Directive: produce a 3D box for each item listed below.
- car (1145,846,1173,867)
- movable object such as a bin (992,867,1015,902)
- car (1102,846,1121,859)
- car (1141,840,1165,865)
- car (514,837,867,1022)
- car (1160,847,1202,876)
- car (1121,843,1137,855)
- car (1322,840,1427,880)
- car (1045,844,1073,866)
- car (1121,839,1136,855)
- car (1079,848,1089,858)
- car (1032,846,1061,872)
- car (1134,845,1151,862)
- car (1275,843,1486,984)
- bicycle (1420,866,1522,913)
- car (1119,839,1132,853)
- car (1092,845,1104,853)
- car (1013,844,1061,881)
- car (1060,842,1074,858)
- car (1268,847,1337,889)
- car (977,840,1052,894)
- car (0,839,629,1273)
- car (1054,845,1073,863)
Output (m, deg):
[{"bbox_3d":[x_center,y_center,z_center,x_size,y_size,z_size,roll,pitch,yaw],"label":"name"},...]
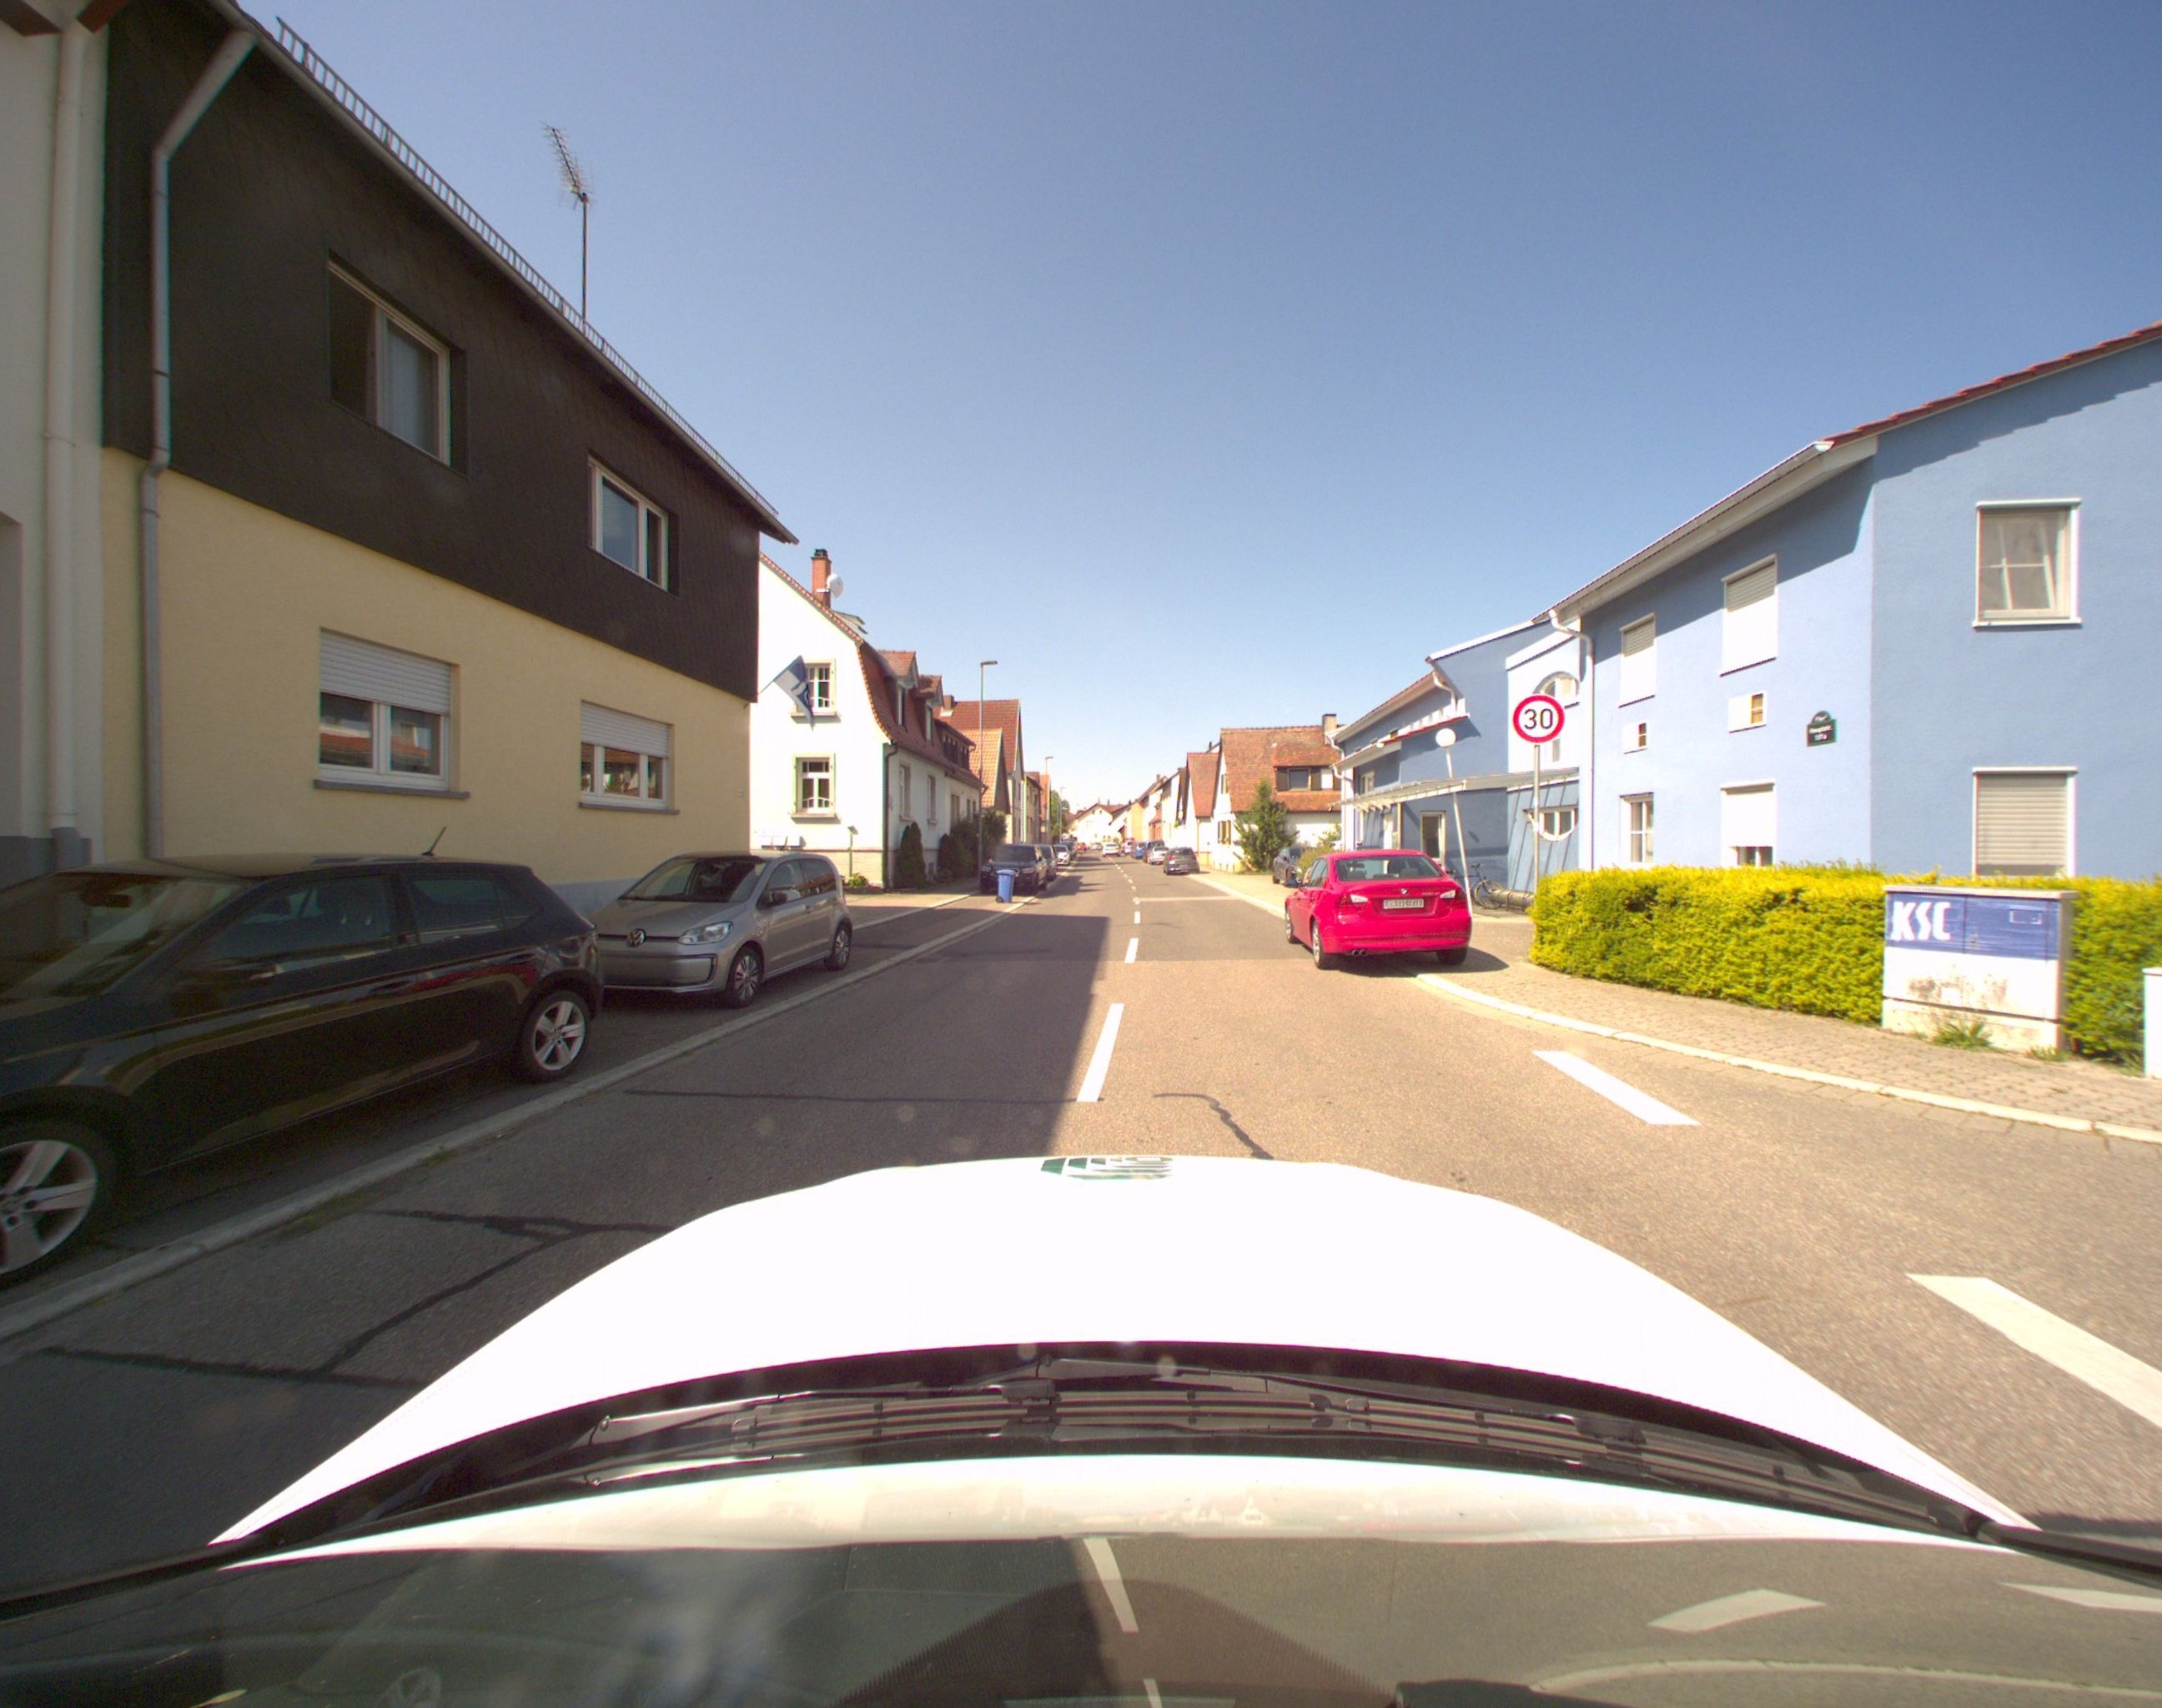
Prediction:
[{"bbox_3d":[5.679,0.161,59.729,1.699,1.496,3.452,0,1,0],"label":"car"},{"bbox_3d":[-2.205,0.865,23.243,0.594,0.982,0.531,0,0,2],"label":"movable object such as a bin"},{"bbox_3d":[3.235,-0.131,87.025,1.987,1.288,4.000,-1,0,0],"label":"car"},{"bbox_3d":[5.691,-0.117,64.596,1.644,1.909,3.625,0,1,0],"label":"car"},{"bbox_3d":[-3.851,0.627,8.843,1.632,1.501,3.788,2,1,6],"label":"car"},{"bbox_3d":[5.226,0.360,42.963,1.699,1.433,3.889,0,1,0],"label":"car"},{"bbox_3d":[5.948,-0.673,101.306,1.760,1.433,3.451,-1,0,1],"label":"car"},{"bbox_3d":[13.098,0.277,36.549,4.152,1.657,1.815,-1,0,6],"label":"car"},{"bbox_3d":[-1.604,0.078,59.654,1.799,1.547,4.406,0,1,2],"label":"car"},{"bbox_3d":[6.187,-0.884,106.404,1.760,2.004,3.451,-1,0,1],"label":"car"},{"bbox_3d":[0.463,-0.200,131.604,1.596,1.489,3.625,0,1,0],"label":"car"},{"bbox_3d":[-2.099,0.268,49.721,1.547,1.544,2.989,0,1,2],"label":"car"},{"bbox_3d":[5.705,-0.047,75.689,1.416,1.515,3.304,0,1,0],"label":"car"},{"bbox_3d":[3.776,0.647,11.071,1.723,1.494,4.364,-2,0,7],"label":"car"},{"bbox_3d":[8.779,0.797,18.375,1.944,0.980,0.658,-2,0,6],"label":"bicycle"},{"bbox_3d":[5.086,-0.901,93.316,1.416,1.515,3.304,0,1,0],"label":"car"},{"bbox_3d":[3.003,-0.817,141.799,1.987,1.288,3.804,-1,0,0],"label":"car"},{"bbox_3d":[-2.009,0.340,38.311,1.866,1.636,4.666,0,1,2],"label":"car"},{"bbox_3d":[-1.497,-0.423,89.292,1.522,1.713,3.625,0,1,0],"label":"car"},{"bbox_3d":[7.971,0.452,29.680,1.682,1.420,4.151,0,0,4],"label":"car"},{"bbox_3d":[-2.220,0.400,28.306,1.912,1.667,4.670,1,0,3],"label":"car"},{"bbox_3d":[-4.377,0.677,4.028,1.670,1.437,4.003,2,1,6],"label":"car"},{"bbox_3d":[-1.558,-0.056,73.272,1.614,1.577,3.961,0,1,0],"label":"car"}]
